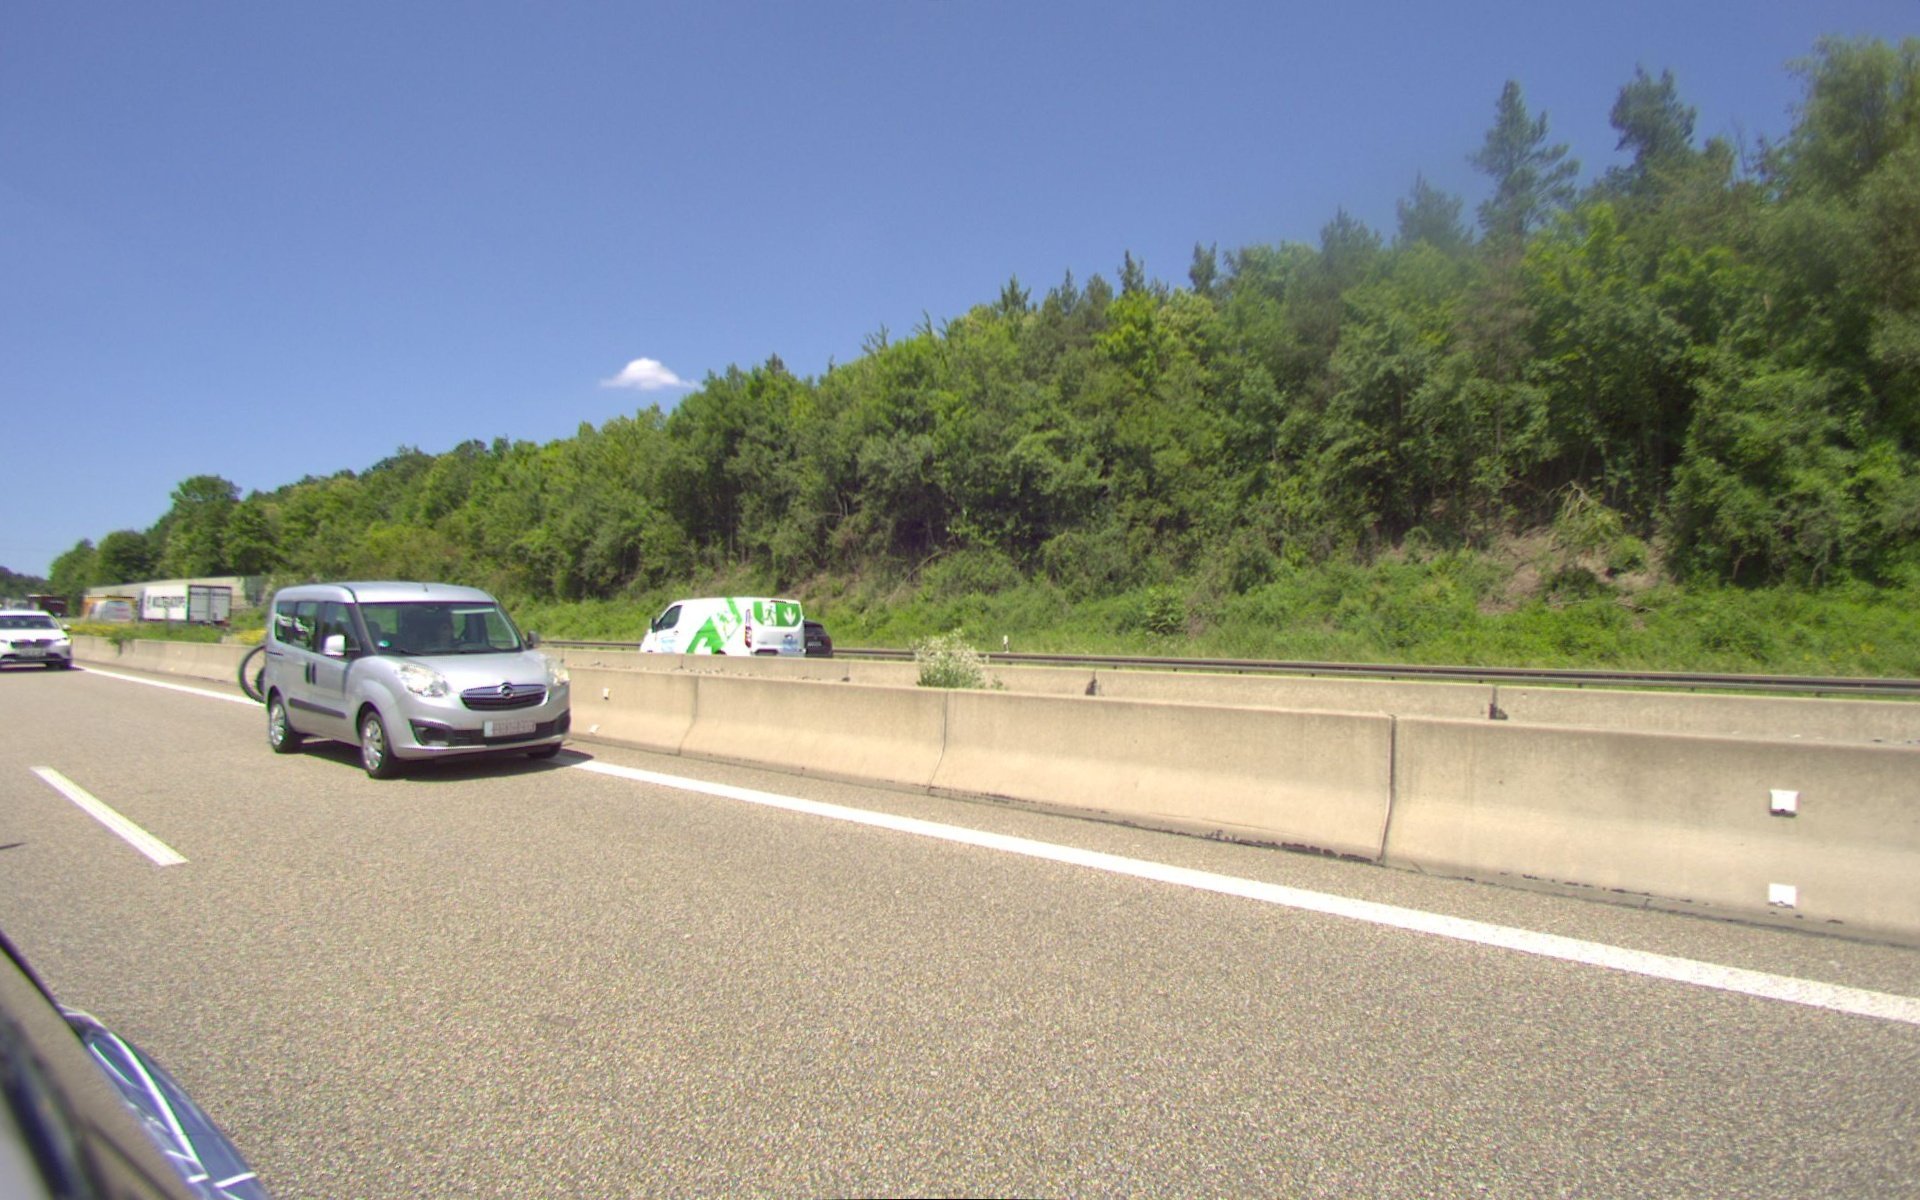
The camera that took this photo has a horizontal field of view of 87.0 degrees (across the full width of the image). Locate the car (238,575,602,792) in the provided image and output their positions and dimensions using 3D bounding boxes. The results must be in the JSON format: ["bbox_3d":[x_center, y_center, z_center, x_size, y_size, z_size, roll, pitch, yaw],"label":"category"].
[{"bbox_3d":[-5.877,0.687,10.691,4.917,1.786,1.833,0,0,42],"label":"car"}]

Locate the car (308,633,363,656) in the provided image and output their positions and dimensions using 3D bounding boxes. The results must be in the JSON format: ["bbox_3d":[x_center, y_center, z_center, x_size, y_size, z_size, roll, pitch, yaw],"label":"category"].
[{"bbox_3d":[-39.067,2.778,63.300,4.001,1.344,1.971,-1,-1,44],"label":"car"}]

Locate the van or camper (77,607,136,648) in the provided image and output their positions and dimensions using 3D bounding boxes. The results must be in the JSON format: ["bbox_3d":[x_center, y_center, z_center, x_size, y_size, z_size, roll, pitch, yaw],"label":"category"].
[{"bbox_3d":[-64.572,2.007,76.505,6.707,2.897,2.370,0,0,40],"label":"van or camper"}]

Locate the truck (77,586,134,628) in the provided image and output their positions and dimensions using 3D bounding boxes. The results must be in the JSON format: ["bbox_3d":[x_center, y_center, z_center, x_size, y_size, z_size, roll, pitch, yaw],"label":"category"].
[{"bbox_3d":[-98.574,0.751,116.631,14.094,4.579,3.059,0,0,42],"label":"truck"}]

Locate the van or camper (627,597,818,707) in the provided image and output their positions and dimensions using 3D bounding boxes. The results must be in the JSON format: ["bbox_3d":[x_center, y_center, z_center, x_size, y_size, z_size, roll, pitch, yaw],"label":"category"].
[{"bbox_3d":[-5.827,1.221,24.498,4.807,2.403,1.972,0,-5,42],"label":"van or camper"}]

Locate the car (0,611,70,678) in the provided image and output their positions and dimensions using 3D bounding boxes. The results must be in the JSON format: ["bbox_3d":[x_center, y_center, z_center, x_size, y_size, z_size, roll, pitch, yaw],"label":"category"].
[{"bbox_3d":[-26.462,1.193,28.346,3.998,1.719,1.800,0,0,41],"label":"car"}]

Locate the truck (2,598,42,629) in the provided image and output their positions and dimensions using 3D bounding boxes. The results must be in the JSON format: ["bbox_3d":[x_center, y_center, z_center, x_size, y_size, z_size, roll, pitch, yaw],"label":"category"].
[{"bbox_3d":[-148.398,2.120,160.058,14.093,4.580,3.235,-2,-1,42],"label":"truck"}]

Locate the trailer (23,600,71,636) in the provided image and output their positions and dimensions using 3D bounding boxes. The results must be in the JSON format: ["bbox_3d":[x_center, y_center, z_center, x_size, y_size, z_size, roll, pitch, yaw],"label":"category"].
[{"bbox_3d":[-110.687,2.074,122.684,7.893,4.226,3.399,0,0,41],"label":"trailer"}]

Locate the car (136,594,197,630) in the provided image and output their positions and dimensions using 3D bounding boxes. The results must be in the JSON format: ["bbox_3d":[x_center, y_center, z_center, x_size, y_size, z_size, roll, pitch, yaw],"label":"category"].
[{"bbox_3d":[-46.695,0.666,59.528,3.996,2.029,1.974,0,0,39],"label":"car"}]

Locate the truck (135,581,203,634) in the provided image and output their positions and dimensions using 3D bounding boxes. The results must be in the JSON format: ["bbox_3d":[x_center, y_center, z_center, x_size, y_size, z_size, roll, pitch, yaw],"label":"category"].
[{"bbox_3d":[-62.049,0.567,79.331,7.212,3.949,2.909,0,0,41],"label":"truck"}]

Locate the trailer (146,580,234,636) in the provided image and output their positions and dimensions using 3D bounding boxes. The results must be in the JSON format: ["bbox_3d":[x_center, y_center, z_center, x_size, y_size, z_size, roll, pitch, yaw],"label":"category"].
[{"bbox_3d":[-57.395,0.552,75.280,11.395,3.901,2.966,0,0,41],"label":"trailer"}]

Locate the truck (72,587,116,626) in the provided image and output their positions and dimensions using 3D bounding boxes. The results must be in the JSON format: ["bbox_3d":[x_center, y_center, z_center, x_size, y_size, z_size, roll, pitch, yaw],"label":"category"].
[{"bbox_3d":[-103.896,0.764,121.353,7.091,4.579,3.059,0,0,41],"label":"truck"}]

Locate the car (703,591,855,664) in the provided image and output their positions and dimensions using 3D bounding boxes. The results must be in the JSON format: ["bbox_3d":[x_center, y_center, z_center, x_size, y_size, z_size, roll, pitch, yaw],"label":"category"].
[{"bbox_3d":[-5.471,0.767,30.305,4.473,2.029,2.093,0,0,39],"label":"car"}]
